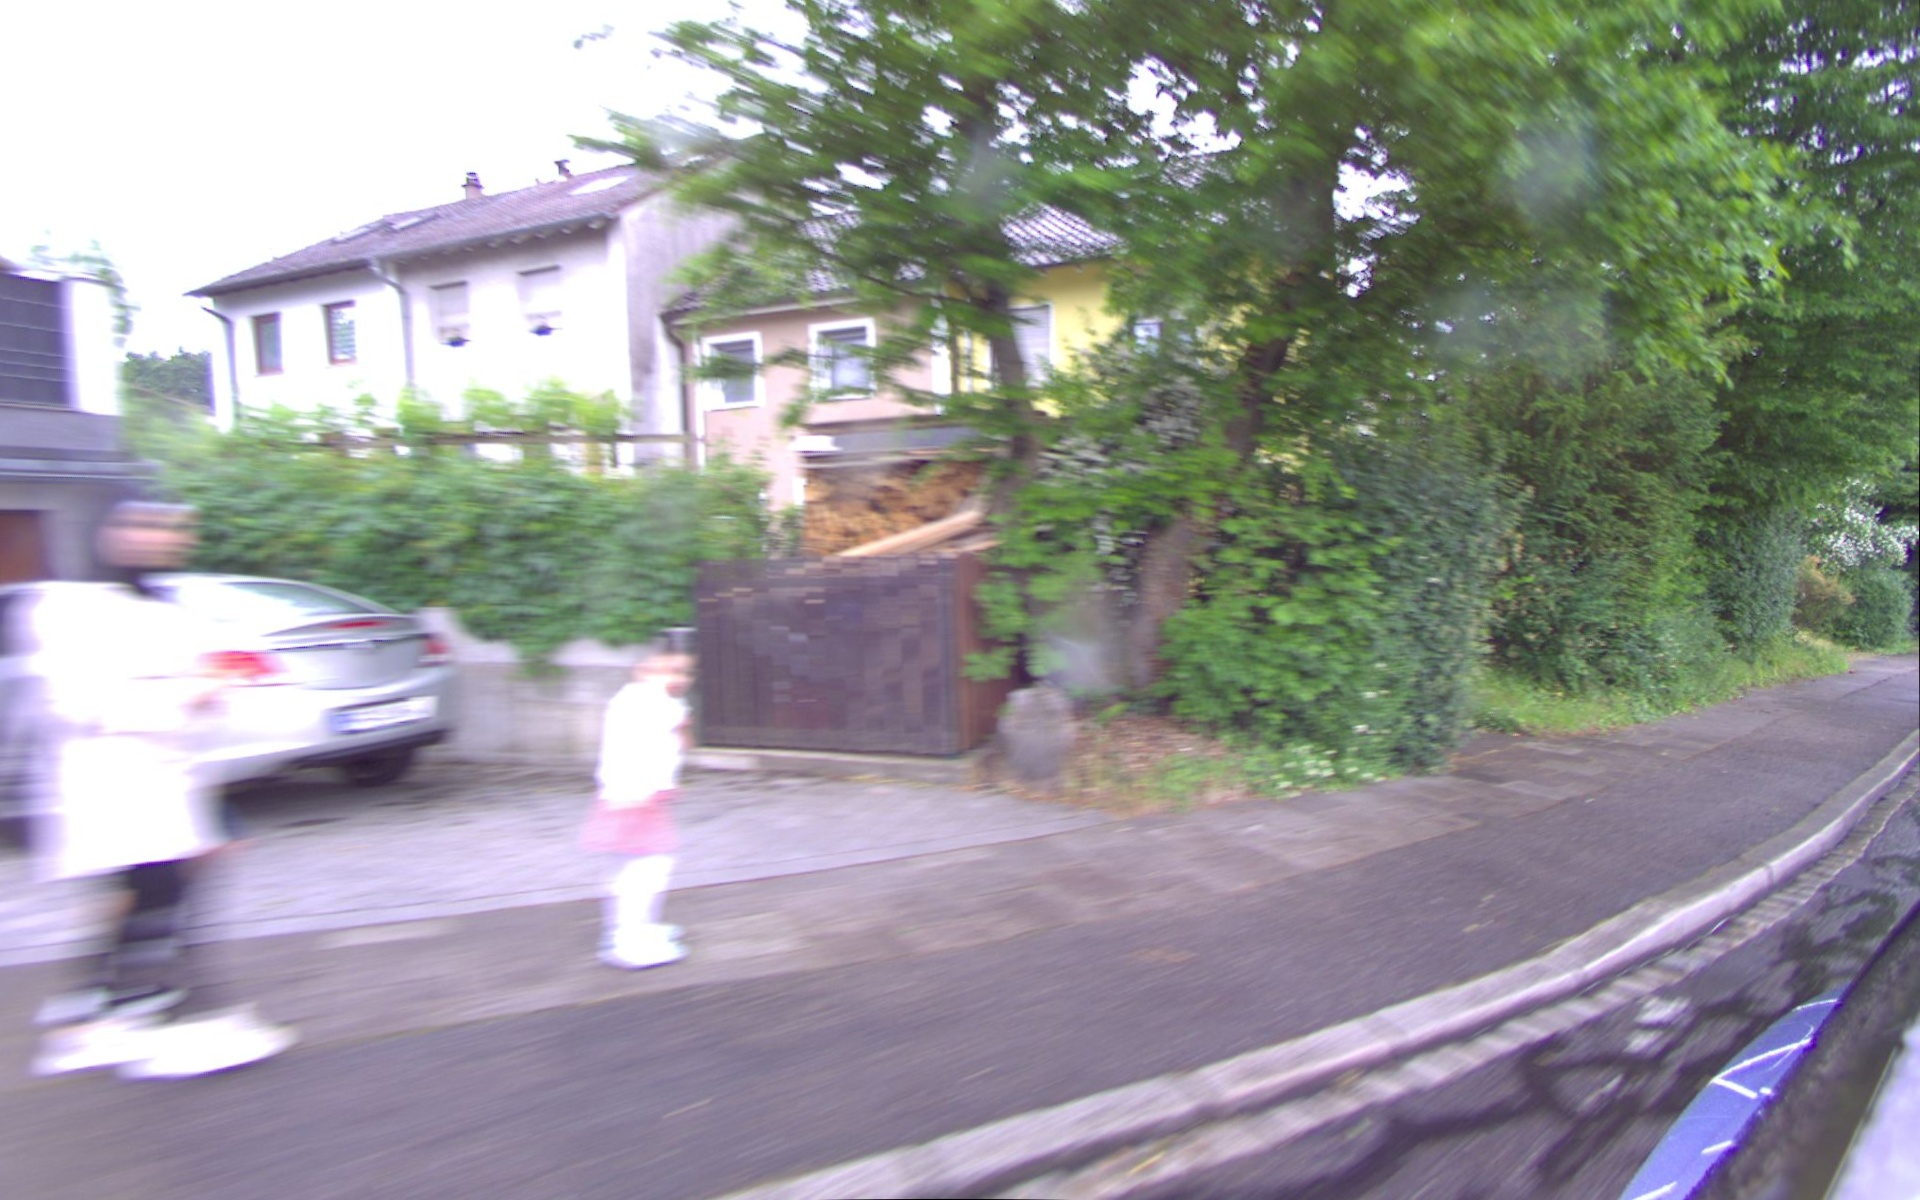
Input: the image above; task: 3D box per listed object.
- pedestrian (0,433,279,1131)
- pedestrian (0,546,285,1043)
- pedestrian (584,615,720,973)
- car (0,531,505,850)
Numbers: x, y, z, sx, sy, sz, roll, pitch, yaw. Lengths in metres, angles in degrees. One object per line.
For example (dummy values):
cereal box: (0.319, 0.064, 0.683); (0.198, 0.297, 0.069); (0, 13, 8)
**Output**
pedestrian: (-2.212, 0.413, 2.693); (0.633, 1.613, 0.612); (0, 1, -33)
pedestrian: (-2.538, 0.527, 3.212); (0.633, 1.371, 0.604); (0, 1, -33)
pedestrian: (-1.093, 0.642, 3.576); (0.359, 1.161, 0.369); (0, 1, -33)
car: (-5.335, 0.621, 6.296); (4.545, 1.438, 1.779); (-7, -1, 20)
